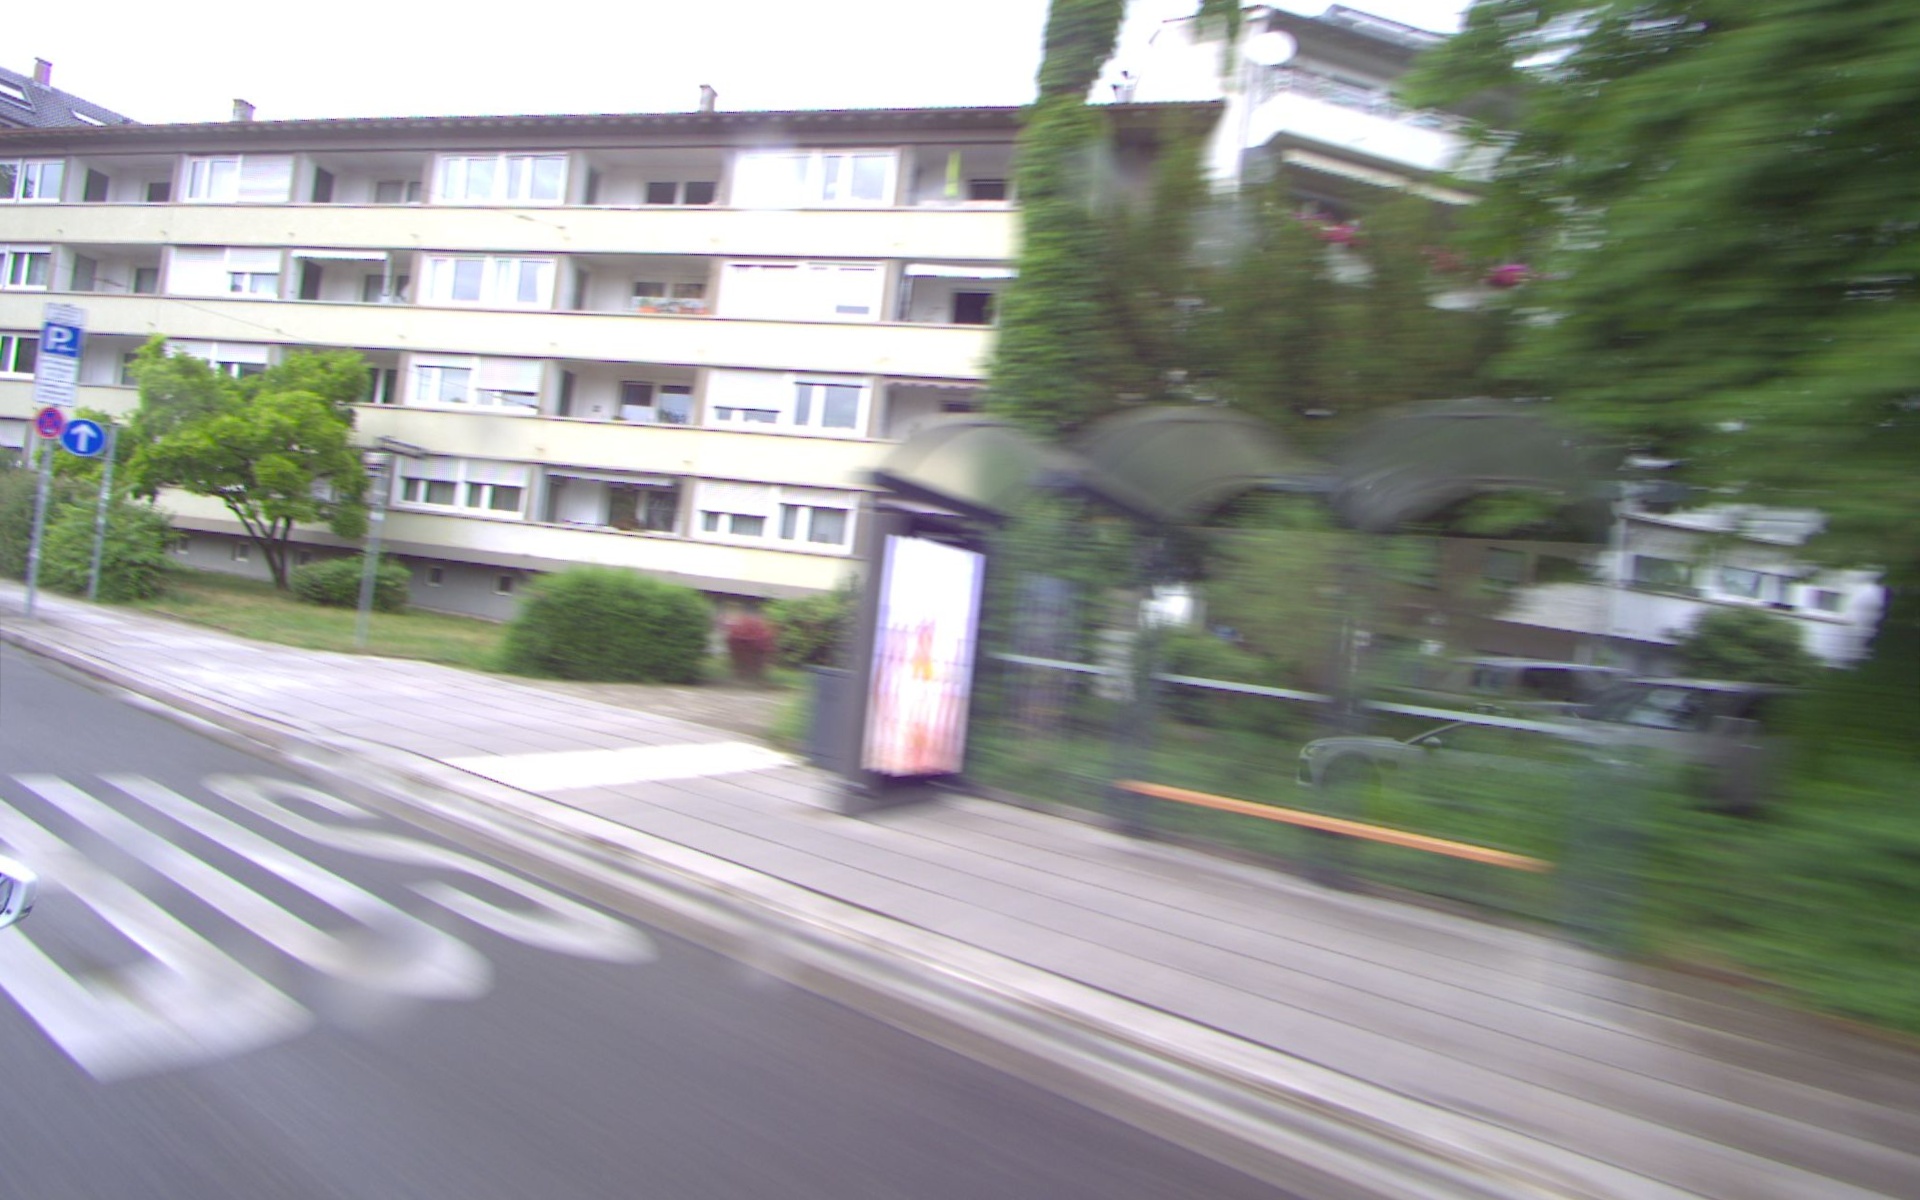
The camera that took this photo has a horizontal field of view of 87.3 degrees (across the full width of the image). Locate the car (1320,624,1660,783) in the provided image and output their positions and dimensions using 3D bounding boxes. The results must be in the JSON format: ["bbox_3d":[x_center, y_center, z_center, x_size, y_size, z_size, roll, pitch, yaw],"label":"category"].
[{"bbox_3d":[7.720,1.488,14.779,4.136,1.714,1.838,8,-2,-14],"label":"car"}]

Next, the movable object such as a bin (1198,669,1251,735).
[{"bbox_3d":[4.562,1.762,17.360,0.526,1.035,0.586,8,-2,-24],"label":"movable object such as a bin"}]

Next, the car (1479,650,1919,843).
[{"bbox_3d":[8.514,1.672,11.636,4.321,1.576,1.837,8,-2,-17],"label":"car"}]
